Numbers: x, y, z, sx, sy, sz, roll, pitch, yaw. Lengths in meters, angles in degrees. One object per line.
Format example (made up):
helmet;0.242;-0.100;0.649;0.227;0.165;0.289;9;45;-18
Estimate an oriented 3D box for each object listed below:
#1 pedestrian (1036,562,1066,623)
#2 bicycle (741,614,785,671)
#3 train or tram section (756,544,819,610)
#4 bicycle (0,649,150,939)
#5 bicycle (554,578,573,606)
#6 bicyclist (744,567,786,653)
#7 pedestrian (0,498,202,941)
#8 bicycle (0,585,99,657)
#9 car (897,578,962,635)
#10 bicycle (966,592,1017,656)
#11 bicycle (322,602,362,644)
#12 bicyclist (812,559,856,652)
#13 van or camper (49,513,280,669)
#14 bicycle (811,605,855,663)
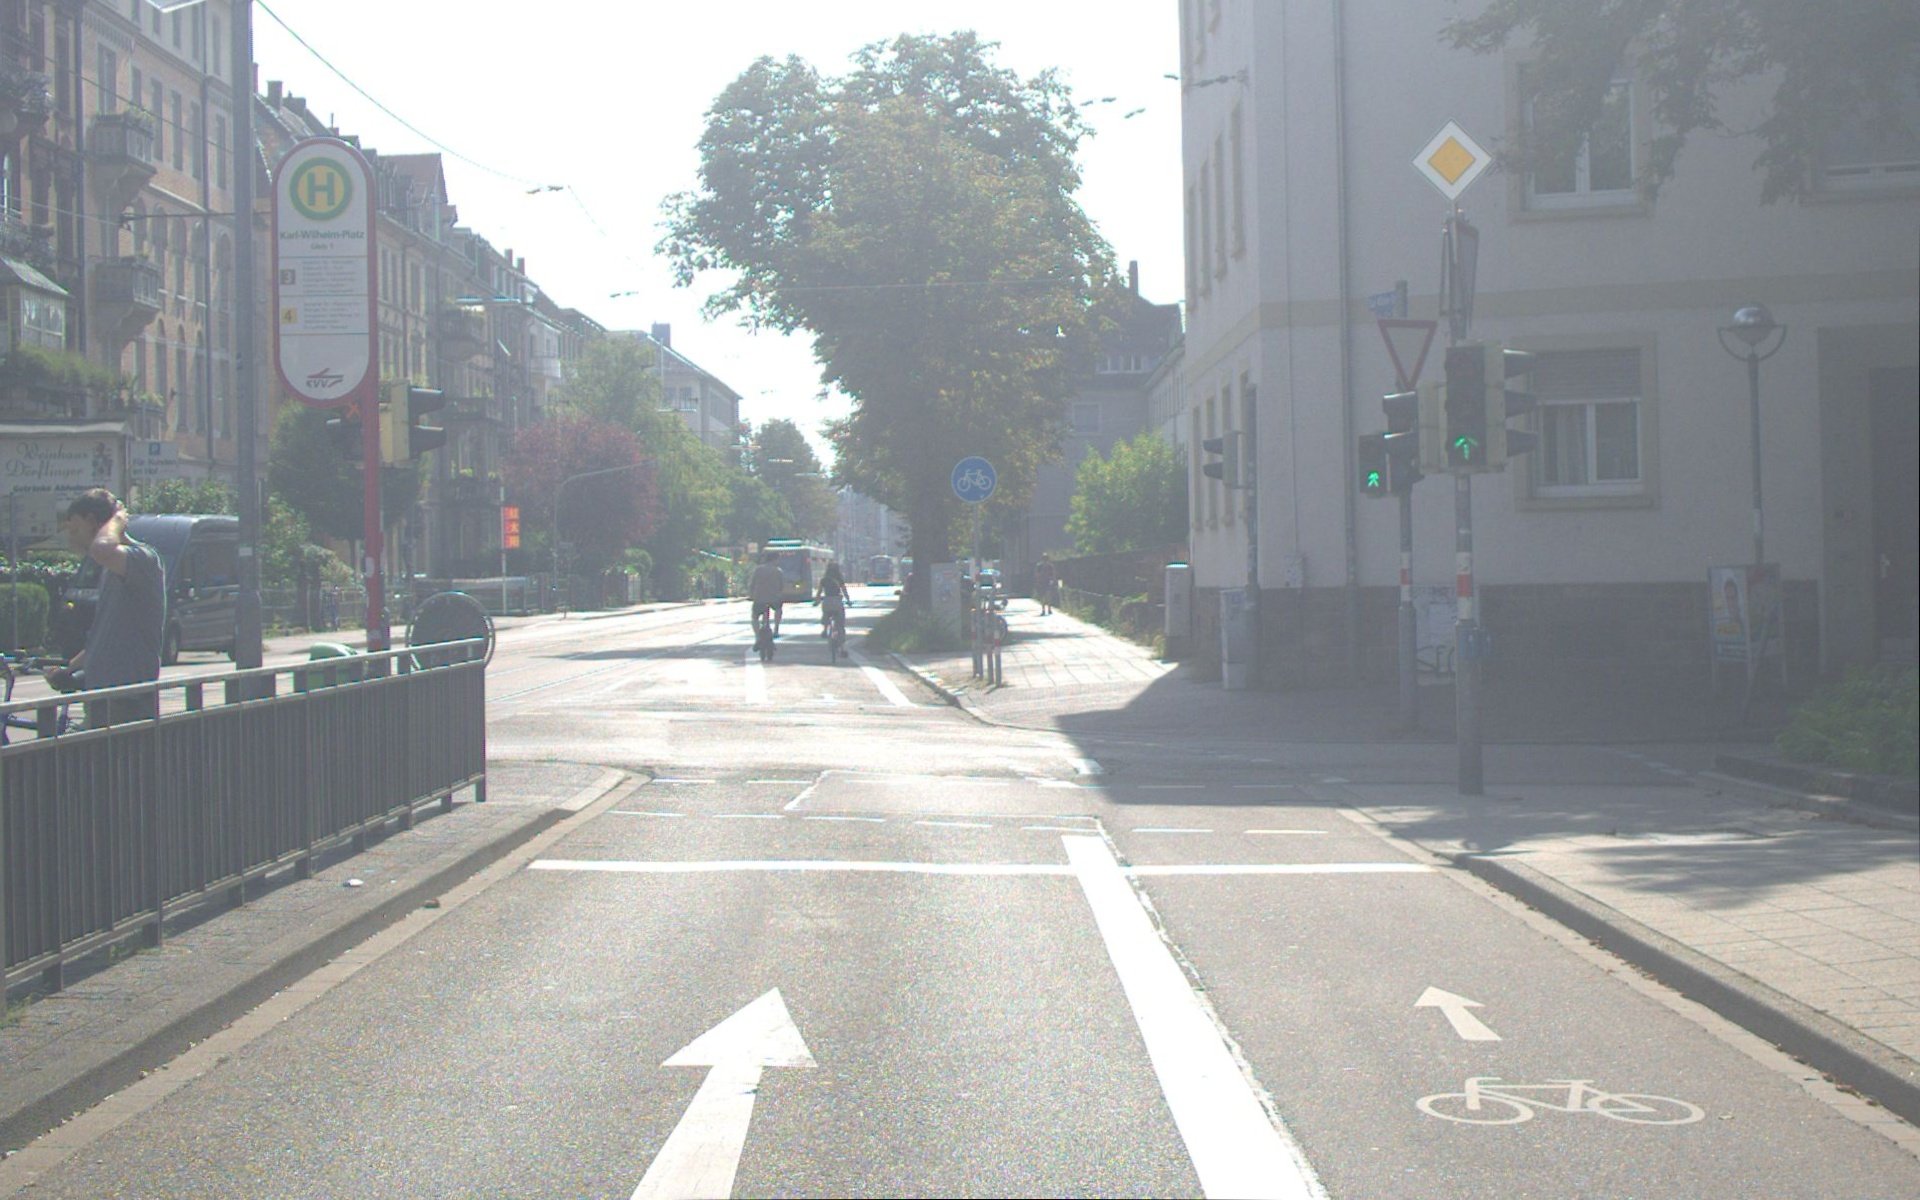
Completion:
pedestrian;2.607;-0.222;98.303;0.752;1.743;0.878;-1;0;7
bicycle;-3.238;0.699;56.577;0.626;0.906;1.525;1;0;-1
train or tram section;-9.455;-1.263;189.898;2.734;3.494;15.433;-1;0;0
bicycle;-3.918;0.780;14.232;0.472;1.100;1.737;-1;0;8
bicycle;-15.949;-0.311;138.234;0.508;1.104;2.003;-1;0;1
bicyclist;-3.213;0.156;56.588;0.626;1.396;0.929;1;0;-1
pedestrian;-3.558;0.474;14.132;0.689;1.760;0.796;-1;0;-1
bicycle;-18.859;0.417;69.196;2.874;1.450;0.998;0;0;-6
car;-0.805;0.172;93.091;1.645;1.443;4.246;-3;0;0
bicycle;0.551;0.417;61.285;0.771;1.100;2.333;-1;0;-2
bicycle;-16.212;0.602;90.164;0.606;1.054;1.839;3;0;2
bicyclist;-2.020;0.083;55.153;0.654;1.469;0.909;1;0;-1
van or camper;-14.332;-0.147;62.339;2.051;2.635;6.088;-2;0;7
bicycle;-2.035;0.534;55.168;0.654;0.906;1.775;1;0;-1
